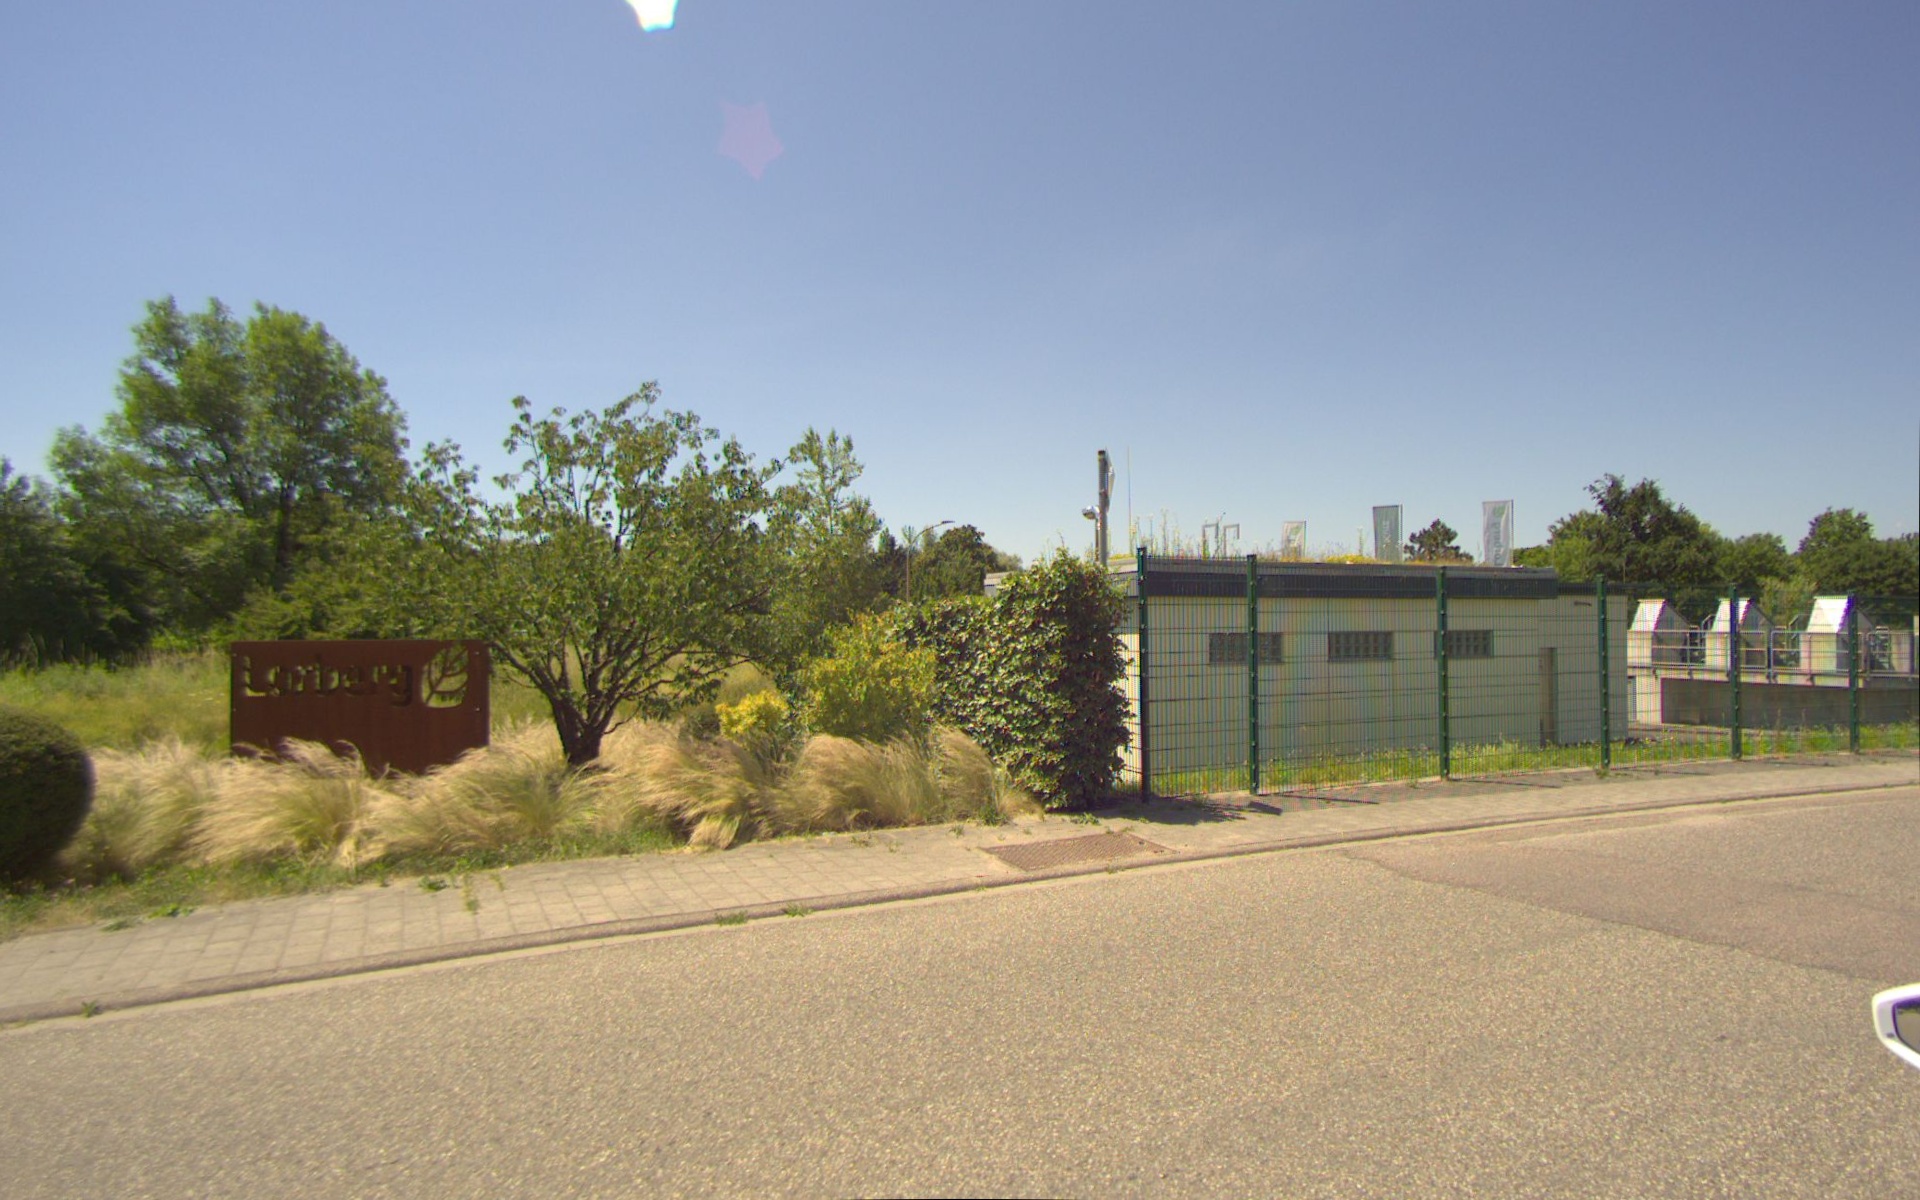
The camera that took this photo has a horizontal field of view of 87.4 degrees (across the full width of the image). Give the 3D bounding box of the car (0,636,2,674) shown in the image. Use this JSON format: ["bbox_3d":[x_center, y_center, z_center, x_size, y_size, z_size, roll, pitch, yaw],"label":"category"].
[{"bbox_3d":[-41.773,2.277,40.600,1.960,1.617,4.002,-1,-2,15],"label":"car"}]
